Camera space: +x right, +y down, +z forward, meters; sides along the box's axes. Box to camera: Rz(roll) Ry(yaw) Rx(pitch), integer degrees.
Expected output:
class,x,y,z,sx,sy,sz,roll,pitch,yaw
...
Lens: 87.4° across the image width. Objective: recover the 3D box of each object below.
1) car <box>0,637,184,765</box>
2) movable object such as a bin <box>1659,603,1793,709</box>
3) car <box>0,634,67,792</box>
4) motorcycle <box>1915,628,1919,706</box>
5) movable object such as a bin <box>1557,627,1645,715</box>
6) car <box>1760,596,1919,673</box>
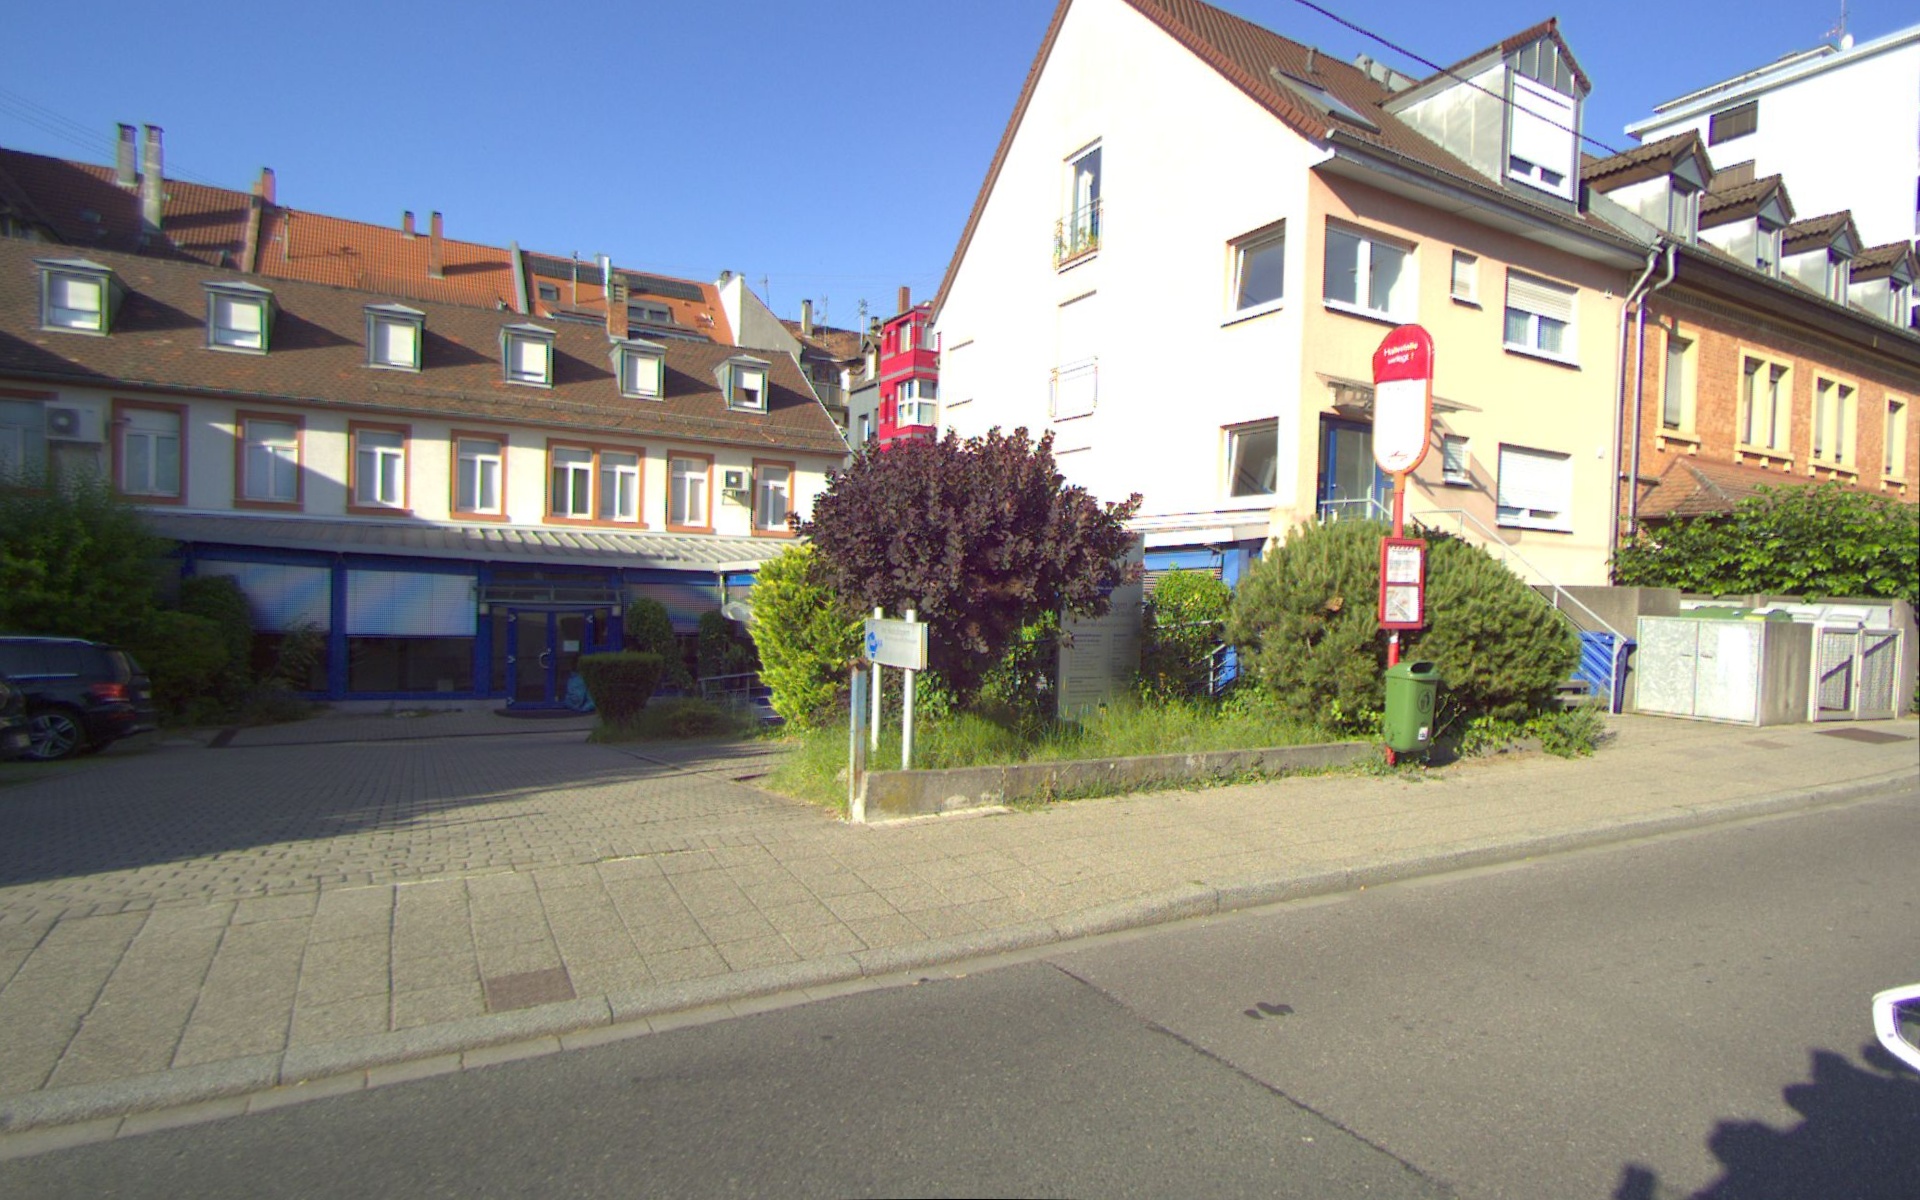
class,x,y,z,sx,sy,sz,roll,pitch,yaw
car,-13.446,1.396,14.056,3.743,1.690,1.835,1,-4,-27
movable object such as a bin,11.312,0.794,14.865,0.981,1.449,1.299,1,1,-33
car,-11.195,1.101,9.575,3.754,1.537,1.829,1,-3,-35
motorcycle,16.156,1.042,15.993,2.208,1.299,0.834,1,2,-33
movable object such as a bin,8.394,0.913,13.169,0.594,1.080,0.755,1,1,-29
car,25.535,0.929,28.045,1.977,1.959,4.590,1,1,-31
